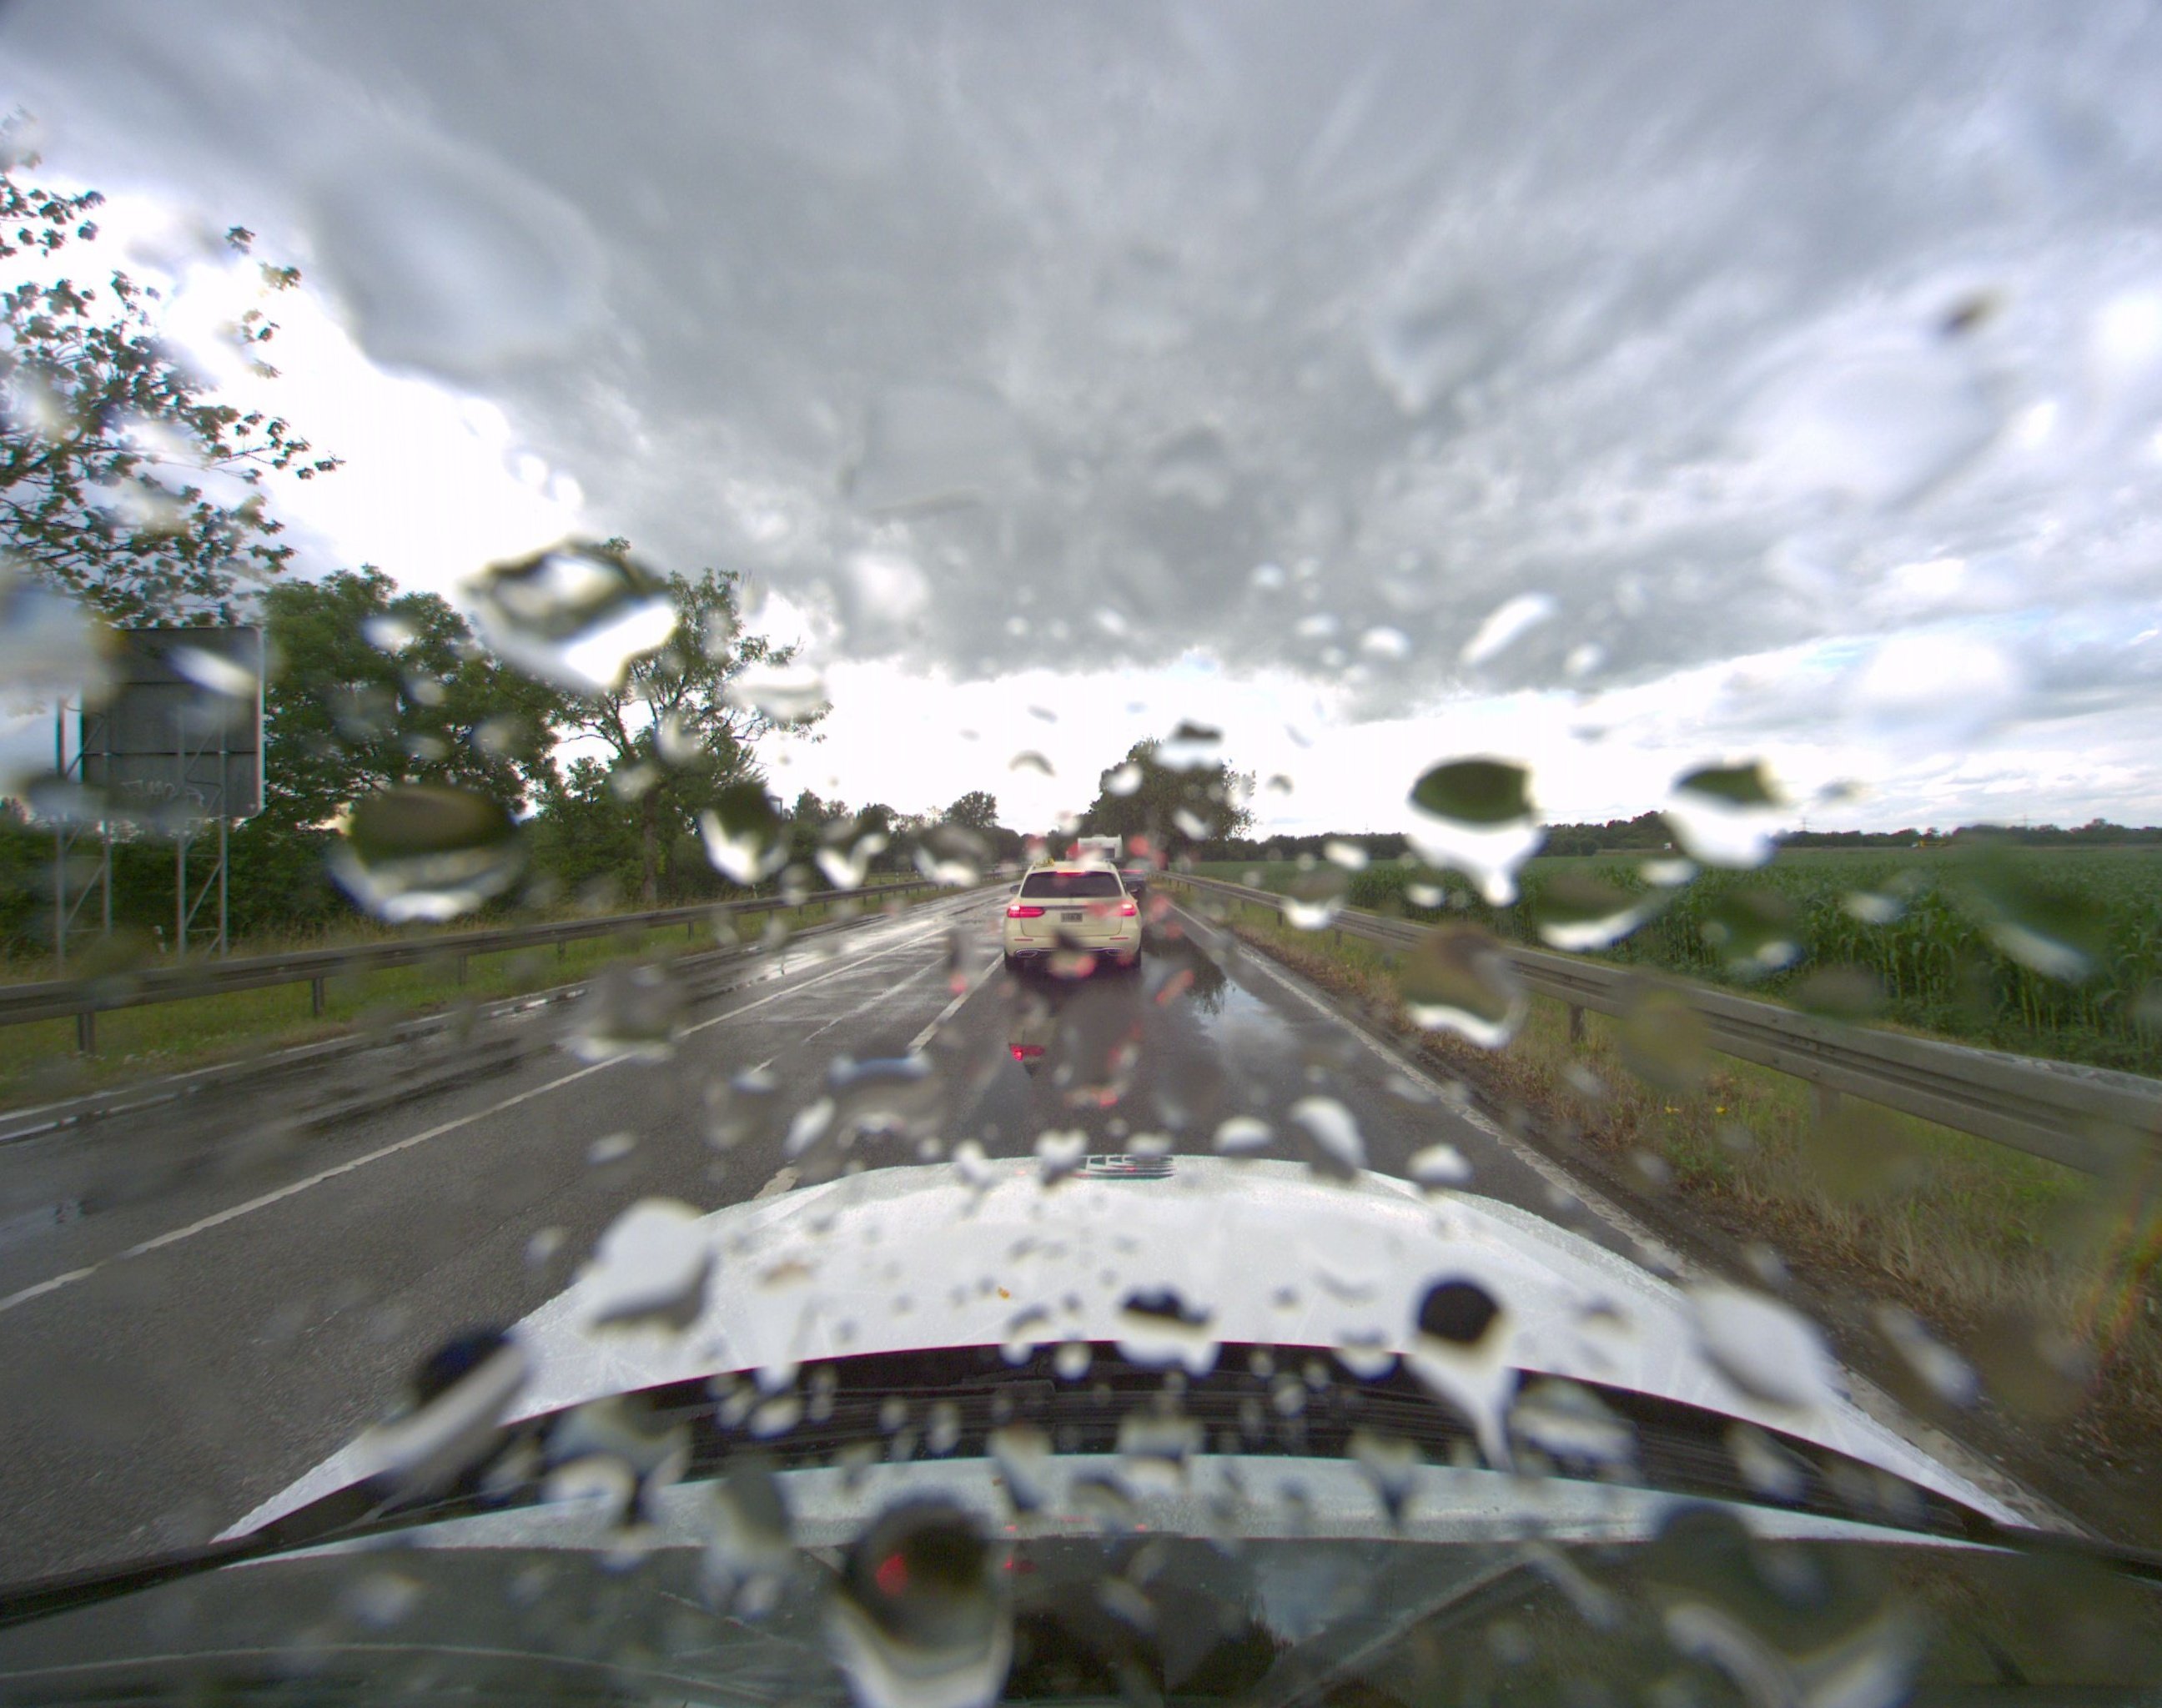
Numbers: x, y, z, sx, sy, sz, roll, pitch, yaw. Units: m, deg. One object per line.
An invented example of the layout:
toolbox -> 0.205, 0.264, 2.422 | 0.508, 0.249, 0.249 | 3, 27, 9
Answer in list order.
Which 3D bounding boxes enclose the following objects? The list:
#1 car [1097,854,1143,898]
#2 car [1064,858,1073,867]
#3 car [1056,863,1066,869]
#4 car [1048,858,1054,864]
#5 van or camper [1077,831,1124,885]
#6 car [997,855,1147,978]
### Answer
car -> 1.459, 0.794, 30.845 | 1.621, 1.529, 3.934 | -1, 0, 2
car -> -3.184, 2.080, 202.699 | 1.986, 2.051, 4.001 | -1, 0, 1
car -> -4.194, 2.594, 172.955 | 1.752, 1.269, 4.002 | -1, 0, 2
car -> -9.542, 2.190, 259.107 | 1.989, 2.013, 3.995 | -1, 0, -3
van or camper -> 1.099, 0.206, 44.306 | 2.341, 2.680, 5.771 | -1, 0, 2
car -> 0.000, 0.781, 12.072 | 1.817, 1.485, 4.148 | -1, 0, 3
